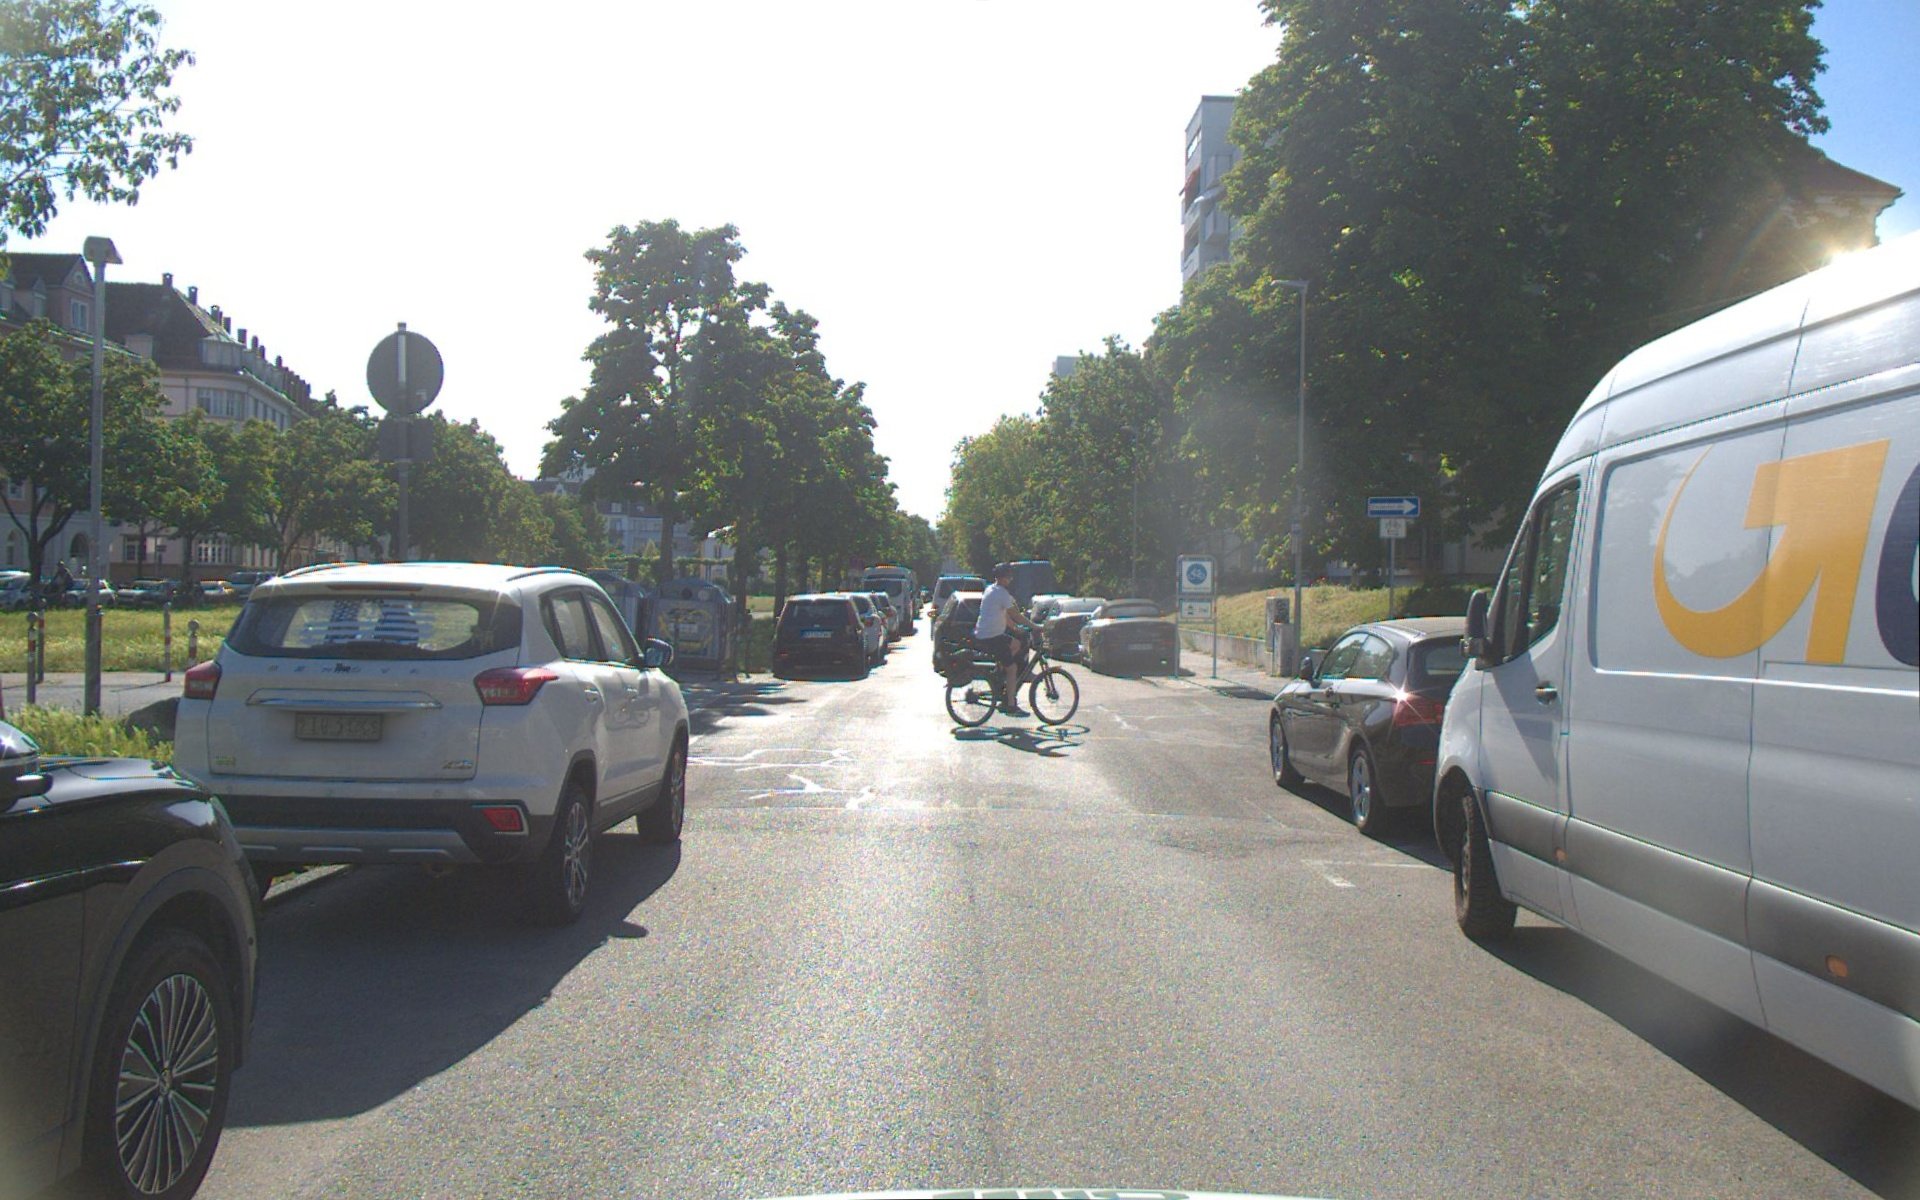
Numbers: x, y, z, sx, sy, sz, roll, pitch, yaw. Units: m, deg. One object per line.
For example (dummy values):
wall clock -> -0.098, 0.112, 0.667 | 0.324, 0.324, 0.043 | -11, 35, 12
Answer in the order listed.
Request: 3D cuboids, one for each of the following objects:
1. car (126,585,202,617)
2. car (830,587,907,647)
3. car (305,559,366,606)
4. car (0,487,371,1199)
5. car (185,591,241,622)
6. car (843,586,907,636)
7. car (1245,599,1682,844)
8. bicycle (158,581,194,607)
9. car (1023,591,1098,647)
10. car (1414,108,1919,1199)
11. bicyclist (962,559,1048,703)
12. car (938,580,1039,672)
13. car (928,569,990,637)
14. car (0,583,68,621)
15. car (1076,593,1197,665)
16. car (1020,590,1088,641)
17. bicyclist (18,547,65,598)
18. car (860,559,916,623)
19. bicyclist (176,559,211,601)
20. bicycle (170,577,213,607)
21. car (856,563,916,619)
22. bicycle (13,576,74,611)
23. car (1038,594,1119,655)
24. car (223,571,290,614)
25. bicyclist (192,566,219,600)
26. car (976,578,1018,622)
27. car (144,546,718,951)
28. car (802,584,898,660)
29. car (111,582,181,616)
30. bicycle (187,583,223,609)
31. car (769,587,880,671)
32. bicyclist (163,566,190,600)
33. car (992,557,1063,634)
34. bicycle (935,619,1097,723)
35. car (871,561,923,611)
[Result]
car -> -37.925, 0.013, 78.909 | 1.808, 1.465, 3.774 | 1, 0, -1
car -> -2.359, 0.409, 43.628 | 1.743, 1.487, 4.127 | 1, 0, 0
car -> -38.313, -1.080, 101.636 | 1.877, 2.792, 5.622 | 1, 0, -3
car -> -2.670, 0.639, 2.600 | 1.805, 1.667, 4.714 | -1, 0, 0
car -> -37.650, 0.321, 83.429 | 1.487, 1.465, 3.230 | 1, 0, -3
car -> -2.702, 0.326, 53.422 | 1.795, 1.526, 4.127 | 1, 0, 1
car -> 3.608, 0.773, 12.823 | 1.919, 1.507, 4.498 | -1, 0, -1
bicycle -> -33.971, -0.254, 71.695 | 0.717, 1.098, 1.955 | 1, 1, -2
car -> 2.828, 0.510, 47.302 | 1.743, 1.513, 4.030 | 1, 0, -2
car -> 3.380, 0.178, 5.163 | 2.098, 2.760, 6.842 | -1, 0, 1
bicyclist -> 0.516, 0.349, 19.025 | 0.777, 1.624, 0.692 | 1, 0, -19
car -> 0.525, 0.447, 31.417 | 1.743, 1.558, 4.000 | 2, 0, 1
car -> -0.004, 0.080, 52.230 | 1.855, 2.026, 4.010 | -1, 0, 1
car -> -37.566, 0.080, 66.173 | 1.659, 1.454, 3.774 | 1, 0, 0
car -> 3.659, 0.560, 34.983 | 2.081, 1.361, 4.506 | -2, 0, 0
car -> 2.942, 0.446, 52.362 | 1.947, 1.513, 4.127 | 1, 0, 0
bicyclist -> -34.393, -1.023, 61.950 | 0.922, 1.869, 1.449 | 0, -1, 0
car -> -2.947, -0.381, 68.294 | 2.055, 2.540, 4.127 | 1, 0, 1
bicyclist -> -34.603, -0.879, 74.682 | 0.922, 1.869, 1.449 | 0, -1, -2
bicycle -> -34.616, -0.358, 74.528 | 0.794, 1.274, 2.633 | 1, 0, -2
car -> -2.725, -0.346, 61.886 | 2.055, 1.976, 4.126 | 1, 0, 0
bicycle -> -34.306, -0.252, 61.979 | 0.793, 1.274, 2.634 | 2, 0, 0
car -> 2.878, 0.560, 40.929 | 1.743, 1.395, 4.127 | 1, 0, 0
car -> -37.891, -0.413, 89.190 | 1.660, 2.252, 5.005 | 1, 0, -3
bicyclist -> -32.770, -0.743, 71.837 | 0.723, 1.463, 0.942 | 0, -1, -1
car -> 2.032, -0.037, 92.047 | 2.119, 2.332, 5.264 | 1, 0, -1
car -> -2.530, 0.607, 9.079 | 1.720, 1.676, 4.287 | -1, 0, 0
car -> -2.317, 0.460, 35.699 | 1.740, 1.521, 3.875 | -1, 0, 0
car -> -43.532, -0.067, 88.519 | 1.822, 1.779, 3.999 | 1, 0, -2
bicycle -> -32.805, -0.163, 71.860 | 0.717, 1.098, 1.955 | 1, 1, -2
car -> -2.490, 0.522, 31.177 | 1.712, 1.449, 3.916 | -1, 0, 0
bicyclist -> -34.001, -0.743, 71.765 | 0.723, 1.463, 0.942 | 0, 0, -1
car -> 2.502, -0.180, 62.467 | 2.120, 2.736, 5.412 | 1, 0, -4
bicycle -> 0.646, 0.809, 19.076 | 1.733, 1.147, 0.659 | 1, 0, -20
car -> -3.519, -0.785, 93.743 | 2.563, 2.691, 6.114 | 1, 0, 1
